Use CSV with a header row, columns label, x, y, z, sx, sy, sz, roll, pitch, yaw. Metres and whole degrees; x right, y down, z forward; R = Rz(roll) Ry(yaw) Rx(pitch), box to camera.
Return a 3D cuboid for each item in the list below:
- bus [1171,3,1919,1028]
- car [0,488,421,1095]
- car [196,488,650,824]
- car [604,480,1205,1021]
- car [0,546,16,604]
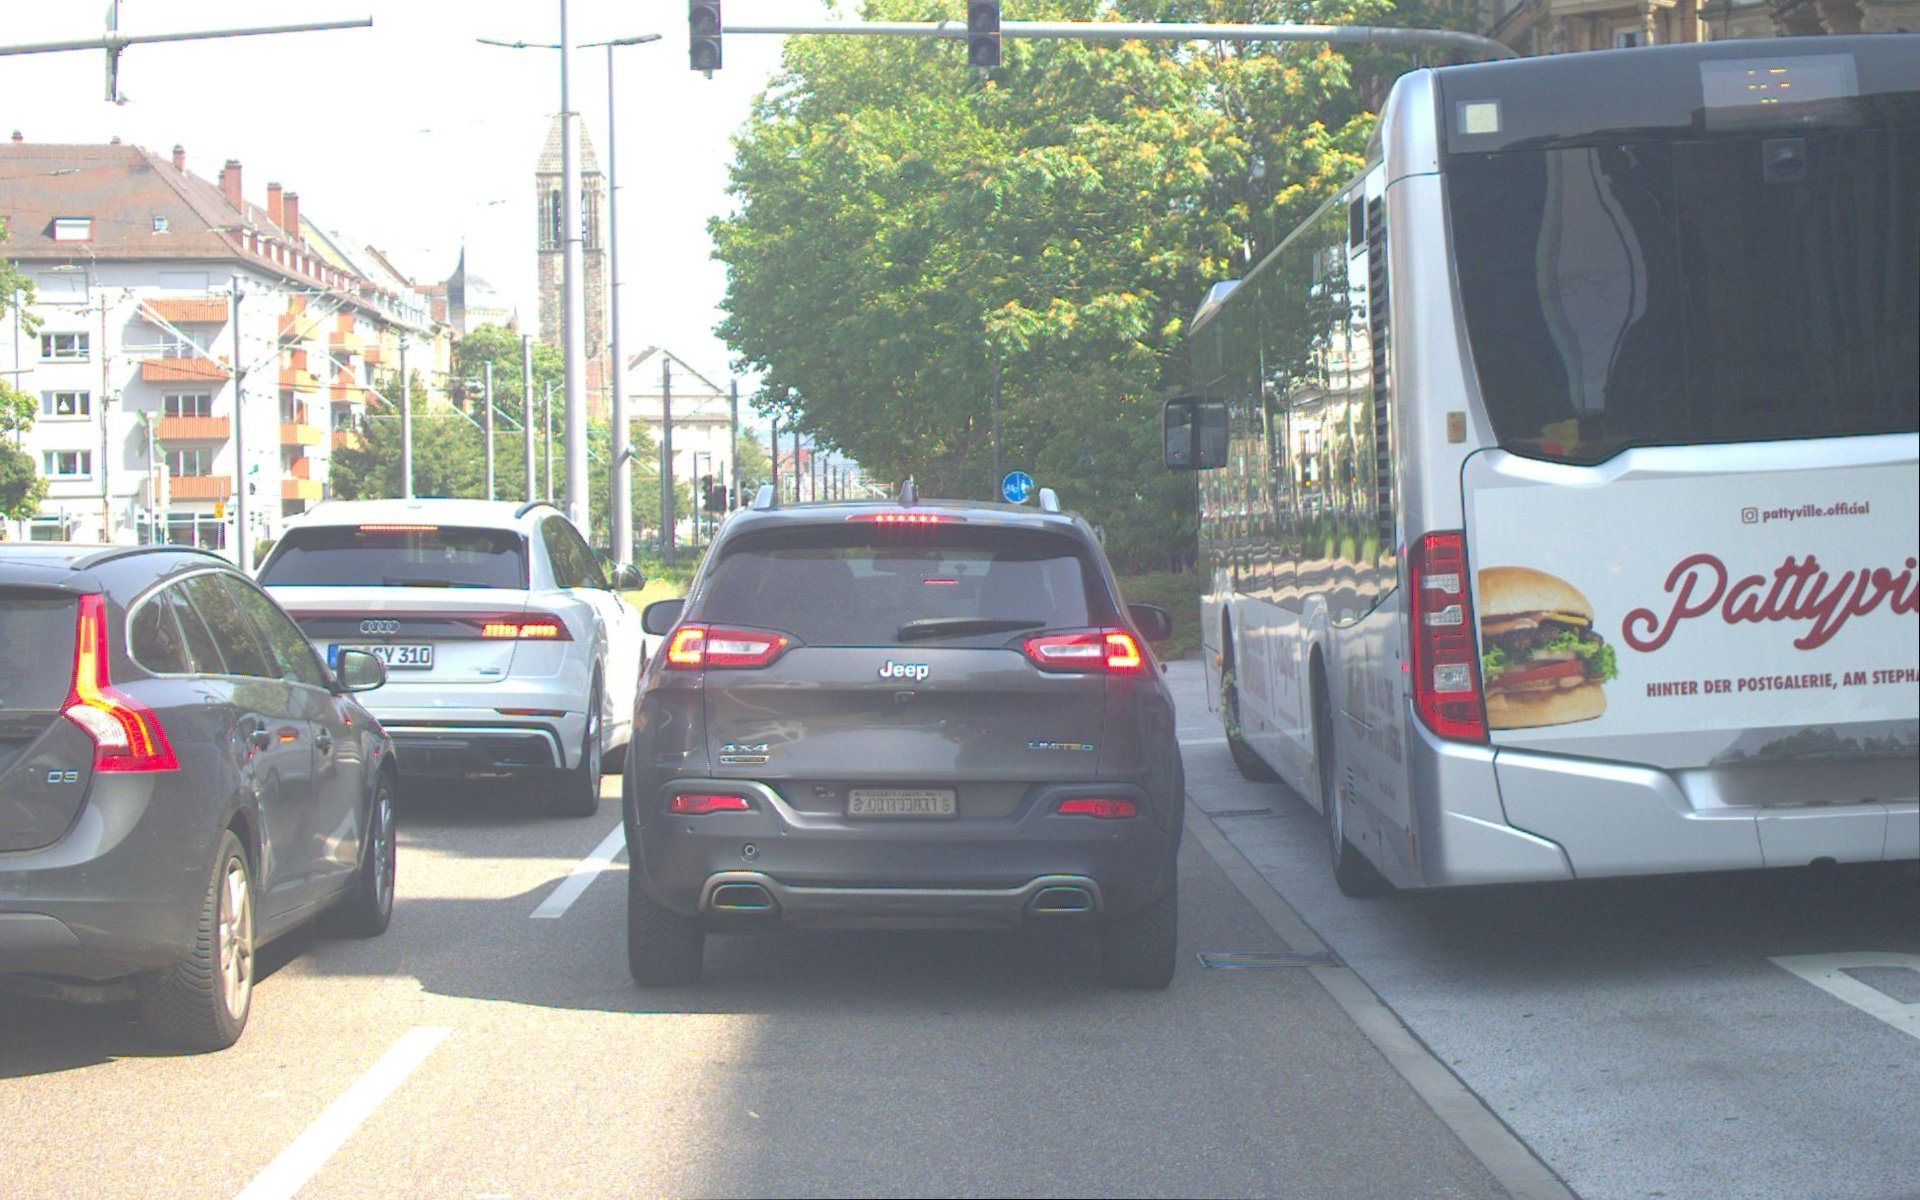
label,x,y,z,sx,sy,sz,roll,pitch,yaw
bus,2.787,-0.396,16.685,2.743,3.096,11.956,-3,1,1
car,-2.939,0.460,11.258,1.747,1.609,4.309,0,1,-1
car,-2.821,0.226,18.979,1.902,1.646,4.309,0,1,-1
car,-0.172,0.416,12.698,1.832,1.646,4.308,0,1,0
car,-25.183,-0.584,86.722,1.746,1.430,4.574,-2,1,-4
